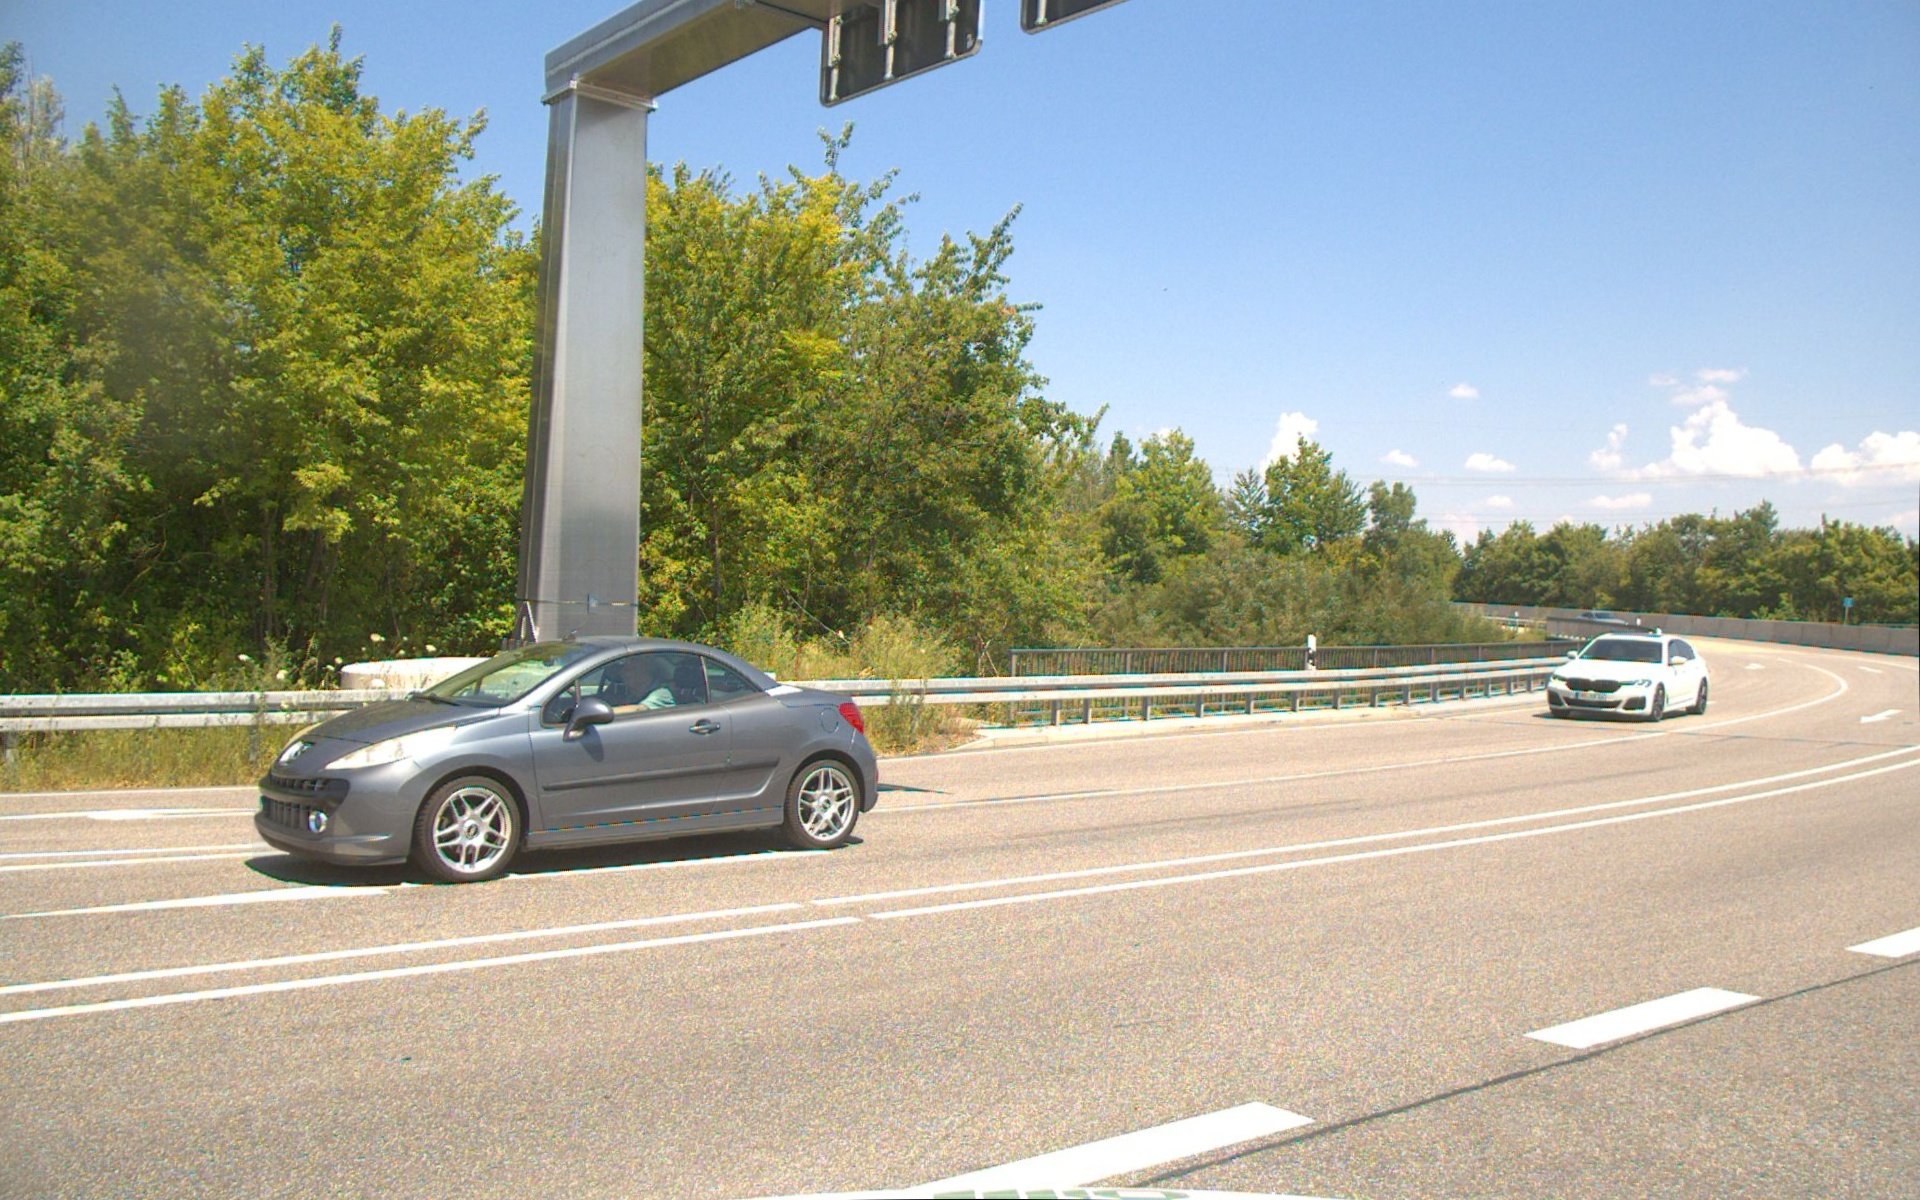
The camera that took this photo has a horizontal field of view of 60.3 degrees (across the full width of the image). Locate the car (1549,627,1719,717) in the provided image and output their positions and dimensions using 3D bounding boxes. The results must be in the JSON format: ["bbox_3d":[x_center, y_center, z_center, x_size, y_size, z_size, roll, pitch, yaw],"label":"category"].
[{"bbox_3d":[12.448,1.277,30.365,1.806,1.510,4.819,-1,-2,36],"label":"car"}]

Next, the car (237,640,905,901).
[{"bbox_3d":[-2.369,0.956,10.693,3.934,1.376,1.626,1,-2,-42],"label":"car"}]
